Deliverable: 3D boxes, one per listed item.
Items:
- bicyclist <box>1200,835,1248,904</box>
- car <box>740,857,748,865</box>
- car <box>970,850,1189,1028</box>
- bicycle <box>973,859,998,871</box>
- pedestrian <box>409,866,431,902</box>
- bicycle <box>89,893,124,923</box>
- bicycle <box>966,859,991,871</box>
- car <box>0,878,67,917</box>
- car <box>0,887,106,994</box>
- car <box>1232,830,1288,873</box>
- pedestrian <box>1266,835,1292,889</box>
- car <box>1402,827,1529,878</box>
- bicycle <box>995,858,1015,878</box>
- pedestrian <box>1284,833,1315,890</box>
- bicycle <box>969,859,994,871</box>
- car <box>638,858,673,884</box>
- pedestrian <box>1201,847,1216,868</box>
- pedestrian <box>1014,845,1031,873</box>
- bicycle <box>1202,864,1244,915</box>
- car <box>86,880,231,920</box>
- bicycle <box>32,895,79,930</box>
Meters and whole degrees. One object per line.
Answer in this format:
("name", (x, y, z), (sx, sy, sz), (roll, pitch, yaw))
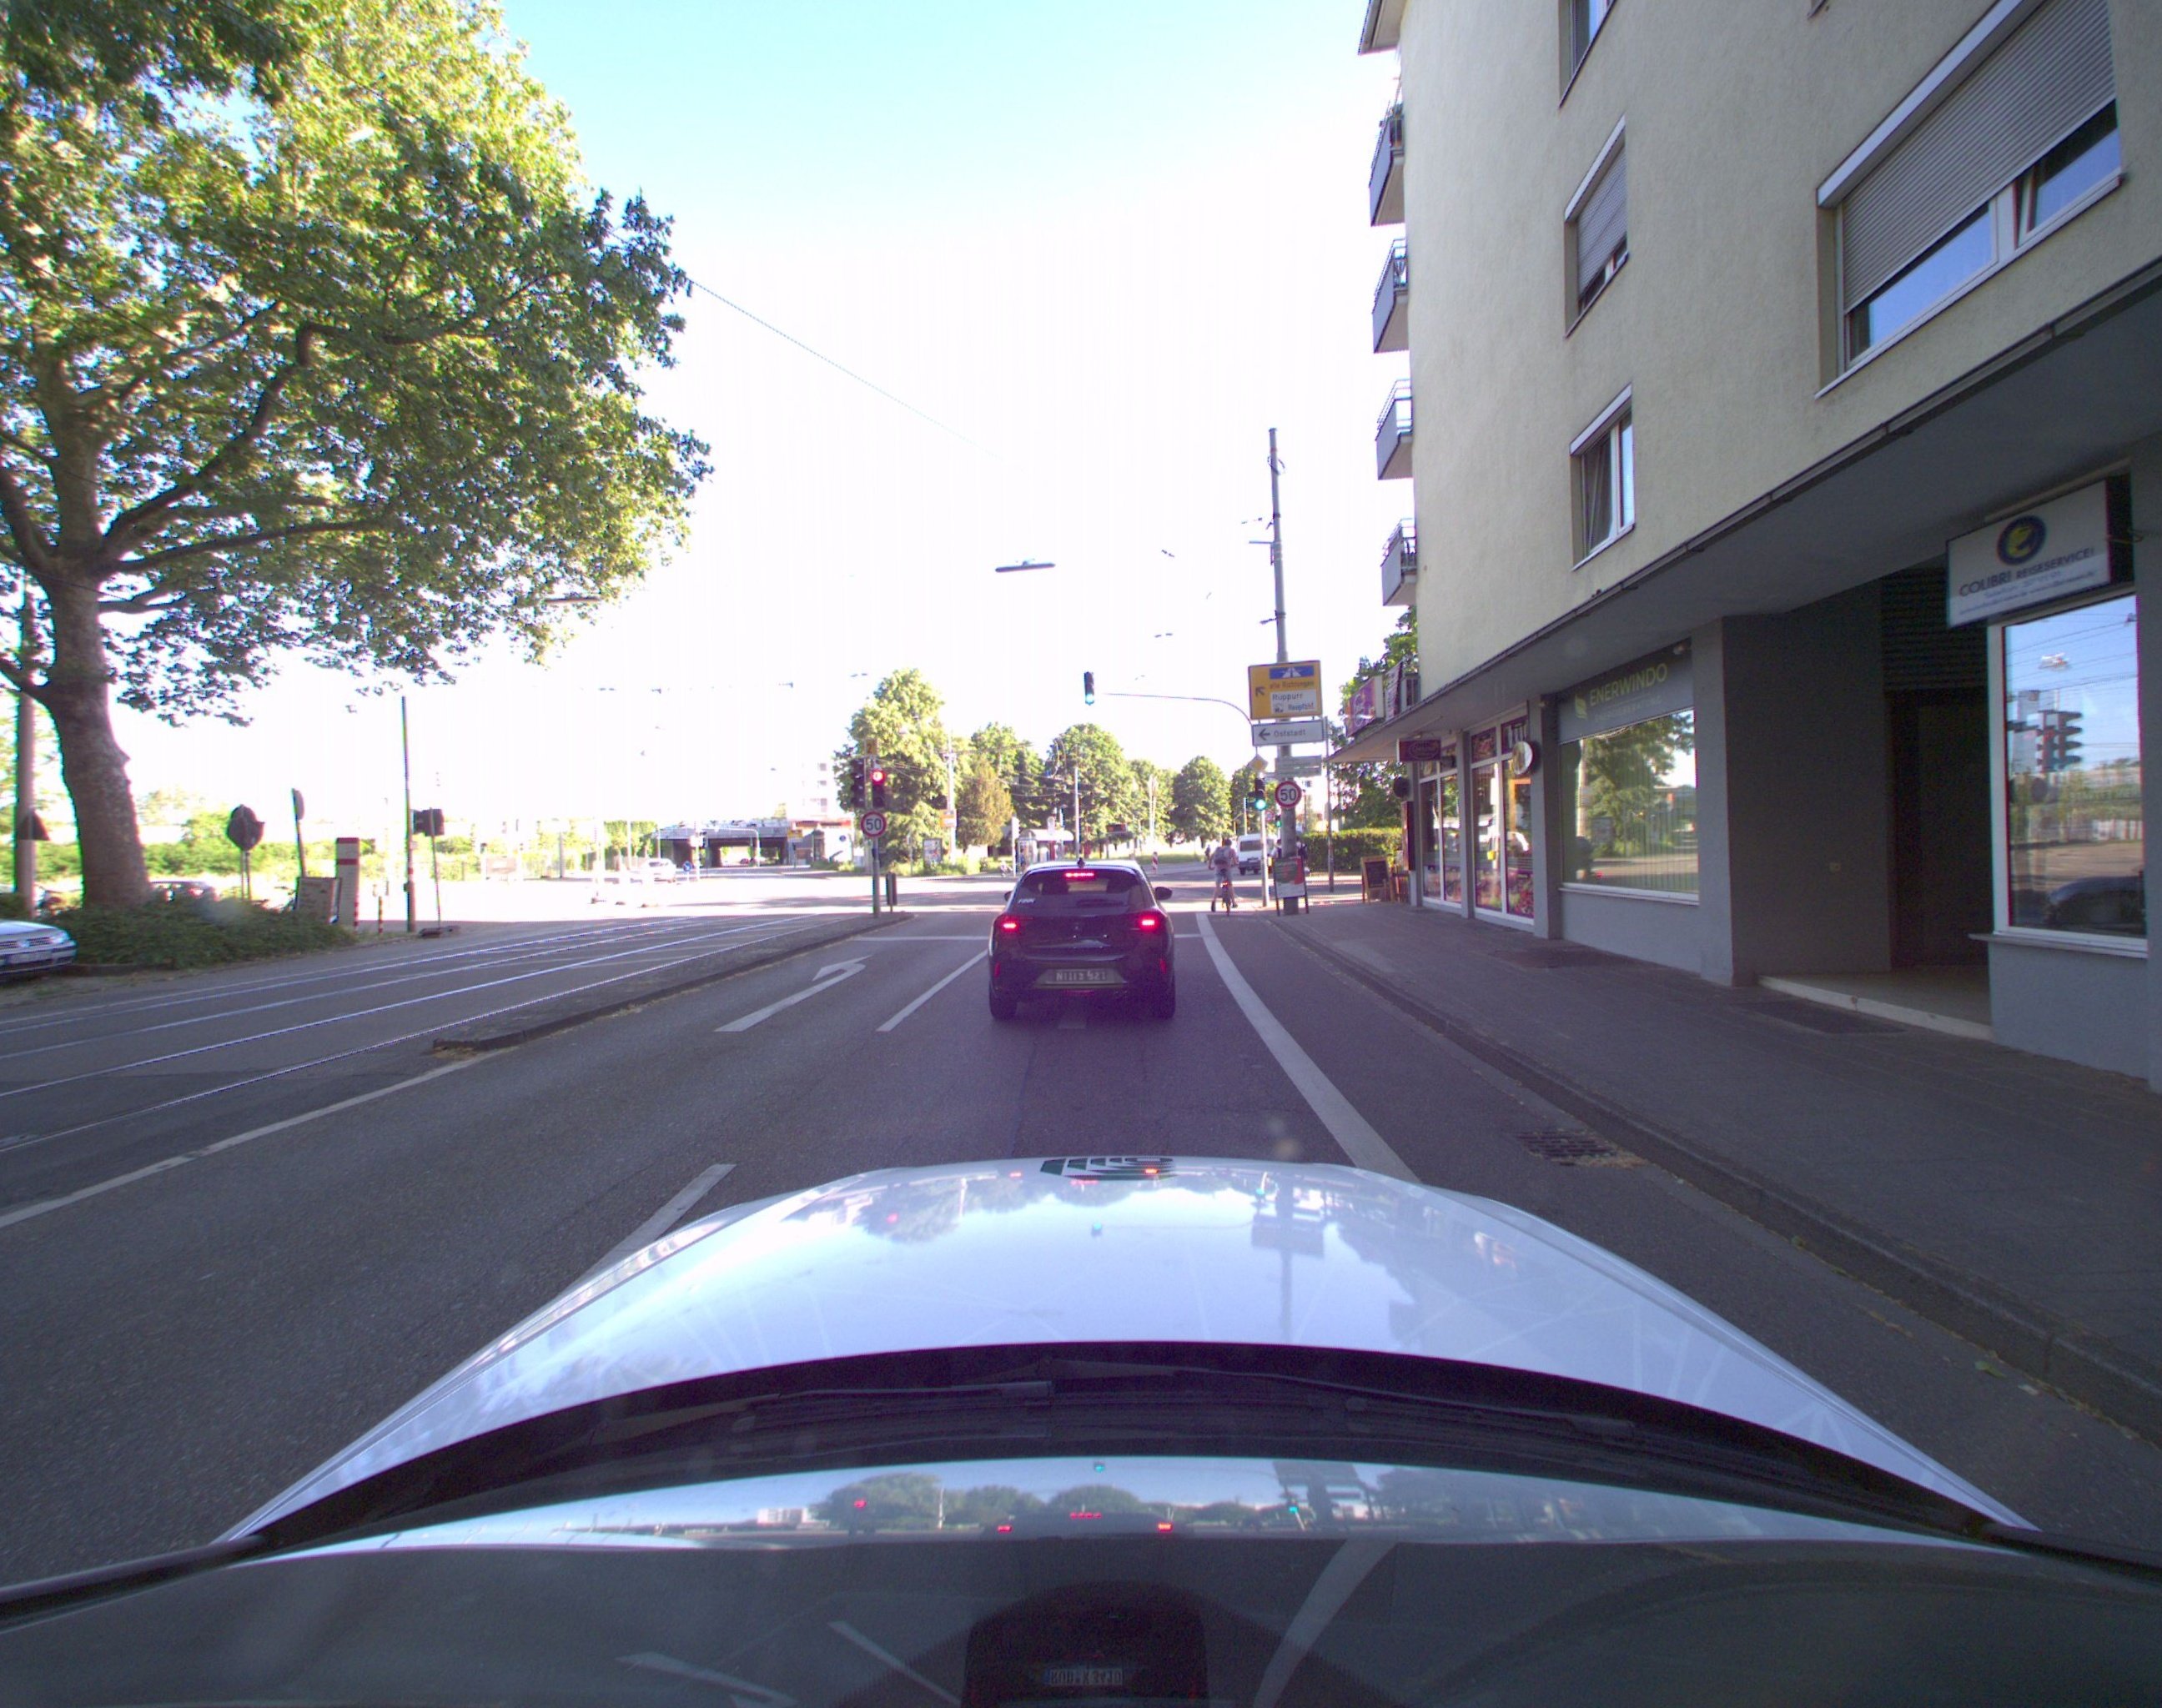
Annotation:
("bicyclist", (3.277, 0.332, 18.797), (0.837, 1.510, 1.368), (-2, 0, 0))
("car", (-90.641, 1.910, 218.946), (2.003, 2.014, 3.967), (0, -1, -25))
("car", (0.100, 0.706, 8.787), (1.793, 1.441, 3.943), (-2, 0, 3))
("bicycle", (-7.761, 0.883, 66.004), (1.866, 0.906, 0.661), (-2, 0, 8))
("pedestrian", (-30.085, 1.358, 37.090), (0.602, 1.596, 0.679), (0, -1, -24))
("bicycle", (-26.252, 1.450, 21.933), (1.757, 0.759, 0.360), (-1, 0, 32))
("bicycle", (-8.065, 0.883, 64.154), (1.866, 0.906, 0.661), (-2, 0, 8))
("car", (-48.406, 1.958, 35.968), (4.006, 1.419, 1.880), (-1, 6, -25))
("car", (-16.676, 1.213, 11.292), (3.980, 1.417, 1.701), (0, -1, -5))
("car", (10.135, -0.128, 45.904), (2.070, 2.277, 4.331), (-1, -1, 26))
("pedestrian", (6.691, 0.268, 27.570), (0.696, 1.792, 0.617), (-2, 0, 1))
("car", (15.105, -0.026, 32.181), (4.150, 1.814, 1.811), (-2, -3, 10))
("bicycle", (-4.373, 0.795, 46.848), (0.821, 1.059, 1.885), (-2, 0, 4))
("pedestrian", (7.195, 0.230, 26.830), (0.696, 1.846, 0.705), (-2, 0, 41))
("bicycle", (-7.937, 0.885, 65.137), (1.866, 0.906, 0.661), (-2, 0, 8))
("car", (-28.802, 1.110, 55.057), (2.005, 1.631, 4.588), (-2, 0, -28))
("pedestrian", (11.172, 0.336, 71.455), (0.949, 1.793, 1.002), (-2, 0, 27))
("pedestrian", (-3.664, 0.328, 50.602), (0.719, 1.693, 0.705), (-2, 0, 43))
("bicycle", (3.258, 0.783, 18.860), (0.665, 1.059, 2.083), (-2, 0, 2))
("car", (-43.106, 2.113, 38.195), (4.006, 1.419, 1.880), (-1, 6, -25))
("bicycle", (-25.051, 1.423, 19.909), (0.360, 0.759, 1.759), (-2, 0, -40))
